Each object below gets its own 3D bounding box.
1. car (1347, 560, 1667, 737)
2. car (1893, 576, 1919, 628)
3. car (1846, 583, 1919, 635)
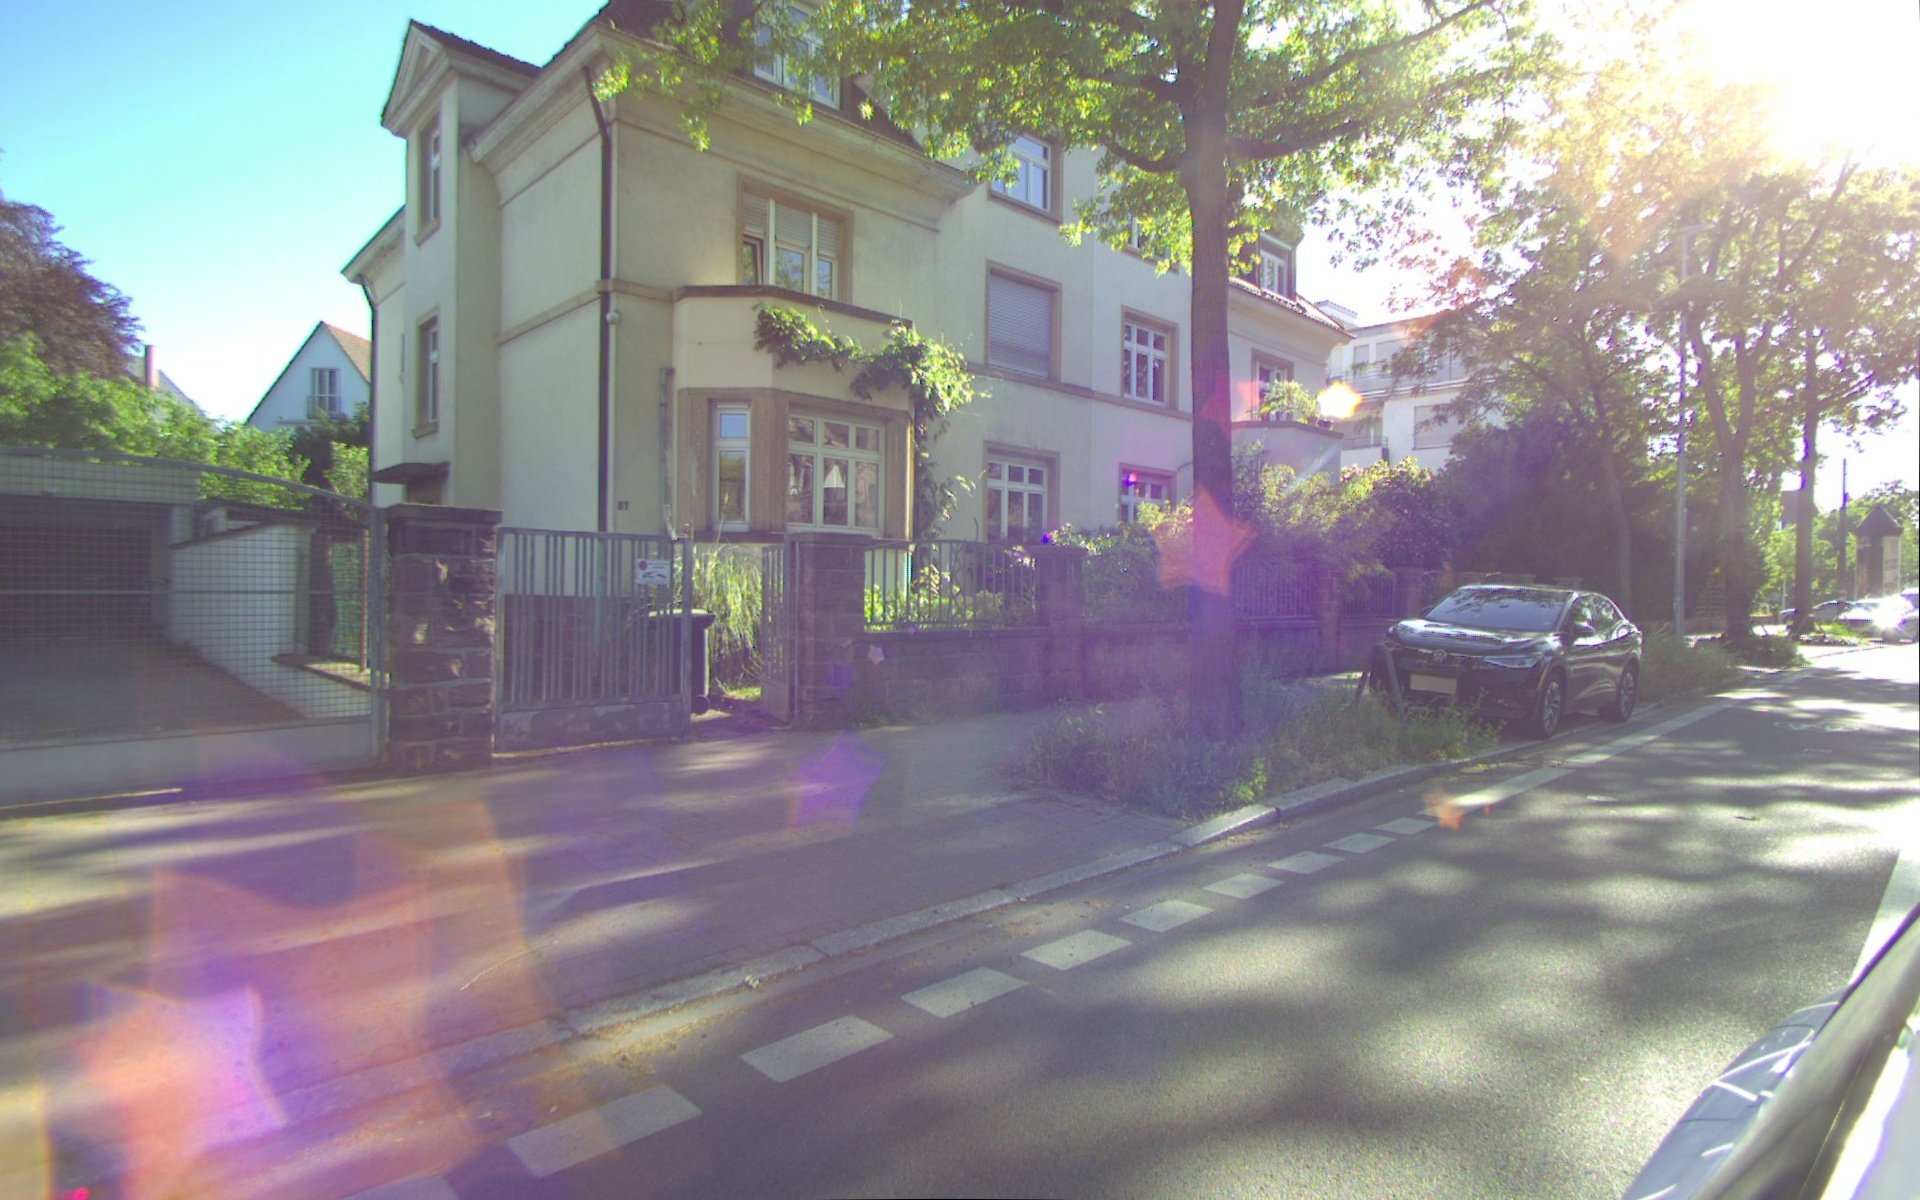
[{"bbox_3d":[6.704,0.486,12.200,4.304,1.695,1.997,1,2,-42],"label":"car"},{"bbox_3d":[36.930,0.071,38.096,4.663,1.919,2.128,0,1,-41],"label":"car"},{"bbox_3d":[31.599,0.259,34.169,3.927,1.660,1.824,0,1,-38],"label":"car"}]
